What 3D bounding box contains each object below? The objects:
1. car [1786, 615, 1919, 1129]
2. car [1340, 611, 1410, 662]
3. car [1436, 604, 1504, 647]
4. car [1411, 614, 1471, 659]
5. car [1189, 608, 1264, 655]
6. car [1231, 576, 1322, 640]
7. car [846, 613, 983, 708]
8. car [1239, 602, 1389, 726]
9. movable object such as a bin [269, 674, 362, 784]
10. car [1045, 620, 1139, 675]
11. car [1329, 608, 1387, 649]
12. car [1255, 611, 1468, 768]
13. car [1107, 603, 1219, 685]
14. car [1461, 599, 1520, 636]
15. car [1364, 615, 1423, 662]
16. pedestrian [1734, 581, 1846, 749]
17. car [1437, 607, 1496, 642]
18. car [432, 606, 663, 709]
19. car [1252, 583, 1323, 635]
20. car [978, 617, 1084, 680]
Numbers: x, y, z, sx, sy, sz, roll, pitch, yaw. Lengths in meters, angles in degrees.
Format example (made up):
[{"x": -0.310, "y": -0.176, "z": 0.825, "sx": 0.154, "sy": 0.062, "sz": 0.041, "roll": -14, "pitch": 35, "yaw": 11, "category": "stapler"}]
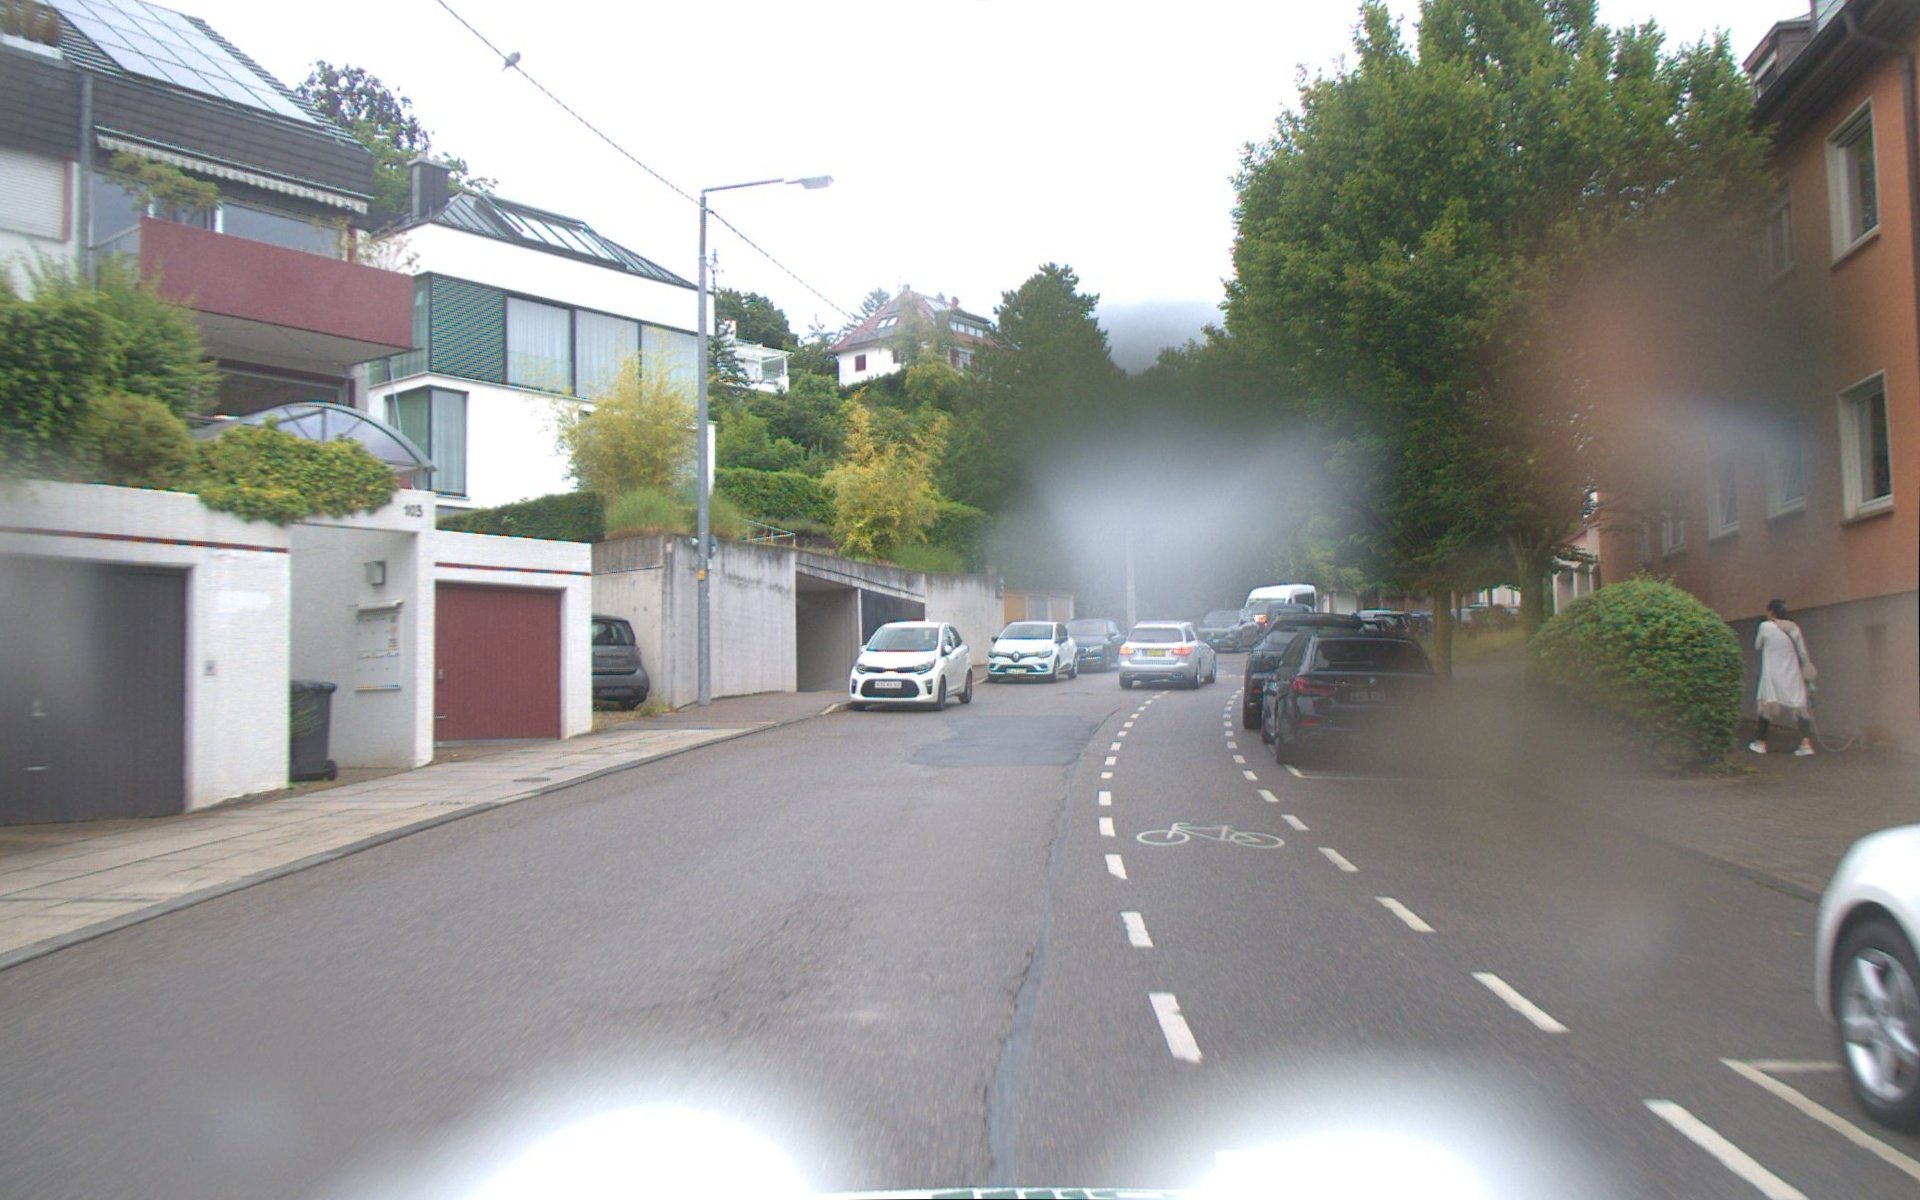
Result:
[{"x": 3.630, "y": 0.818, "z": 3.723, "sx": 1.622, "sy": 1.515, "sz": 4.001, "roll": 1, "pitch": 0, "yaw": 2, "category": "car"}, {"x": 12.978, "y": 1.110, "z": 51.589, "sx": 1.634, "sy": 1.497, "sz": 3.710, "roll": 1, "pitch": 0, "yaw": 21, "category": "car"}, {"x": 20.158, "y": 0.964, "z": 65.265, "sx": 1.742, "sy": 1.580, "sz": 4.722, "roll": 1, "pitch": 0, "yaw": 27, "category": "car"}, {"x": 17.777, "y": 1.324, "z": 61.006, "sx": 1.621, "sy": 1.546, "sz": 3.998, "roll": 0, "pitch": 0, "yaw": 24, "category": "car"}, {"x": 10.401, "y": 1.186, "z": 64.286, "sx": 1.857, "sy": 1.721, "sz": 4.544, "roll": -2, "pitch": -1, "yaw": 23, "category": "car"}, {"x": 13.713, "y": 0.308, "z": 71.323, "sx": 2.054, "sy": 2.594, "sz": 6.088, "roll": -1, "pitch": 0, "yaw": 29, "category": "car"}, {"x": -0.741, "y": 1.027, "z": 29.398, "sx": 1.592, "sy": 1.542, "sz": 3.835, "roll": -1, "pitch": 0, "yaw": 12, "category": "car"}, {"x": 5.511, "y": 0.905, "z": 25.414, "sx": 2.010, "sy": 1.685, "sz": 5.239, "roll": 0, "pitch": -1, "yaw": 14, "category": "car"}, {"x": -6.147, "y": 1.214, "z": 15.776, "sx": 0.534, "sy": 0.980, "sz": 0.643, "roll": 0, "pitch": 0, "yaw": 37, "category": "movable object such as a bin"}, {"x": 3.840, "y": 1.318, "z": 47.490, "sx": 1.677, "sy": 1.485, "sz": 4.684, "roll": -1, "pitch": -1, "yaw": 17, "category": "car"}, {"x": 17.252, "y": 1.224, "z": 71.663, "sx": 1.952, "sy": 1.738, "sz": 4.000, "roll": 0, "pitch": -1, "yaw": 21, "category": "car"}, {"x": 4.583, "y": 0.949, "z": 19.543, "sx": 1.815, "sy": 1.609, "sz": 4.861, "roll": 0, "pitch": -1, "yaw": 6, "category": "car"}, {"x": 4.655, "y": 0.963, "z": 37.399, "sx": 1.982, "sy": 1.738, "sz": 4.218, "roll": 0, "pitch": -1, "yaw": 15, "category": "car"}, {"x": 24.510, "y": 0.779, "z": 76.338, "sx": 1.683, "sy": 1.583, "sz": 4.154, "roll": 1, "pitch": 1, "yaw": 31, "category": "car"}, {"x": 15.199, "y": 1.332, "z": 57.894, "sx": 1.594, "sy": 1.590, "sz": 3.021, "roll": 0, "pitch": 0, "yaw": 23, "category": "car"}, {"x": 9.073, "y": 0.698, "z": 18.120, "sx": 0.744, "sy": 1.750, "sz": 0.903, "roll": -3, "pitch": -1, "yaw": 6, "category": "pedestrian"}, {"x": 22.057, "y": 1.037, "z": 71.885, "sx": 1.612, "sy": 1.449, "sz": 4.281, "roll": 1, "pitch": 1, "yaw": 29, "category": "car"}, {"x": -6.835, "y": 0.894, "z": 27.269, "sx": 3.858, "sy": 1.504, "sz": 1.759, "roll": 1, "pitch": 0, "yaw": 40, "category": "car"}, {"x": 11.445, "y": 0.331, "z": 57.645, "sx": 1.952, "sy": 1.738, "sz": 4.001, "roll": 0, "pitch": -1, "yaw": 18, "category": "car"}, {"x": 1.812, "y": 1.172, "z": 40.988, "sx": 1.793, "sy": 1.465, "sz": 4.043, "roll": -1, "pitch": -1, "yaw": 15, "category": "car"}]
